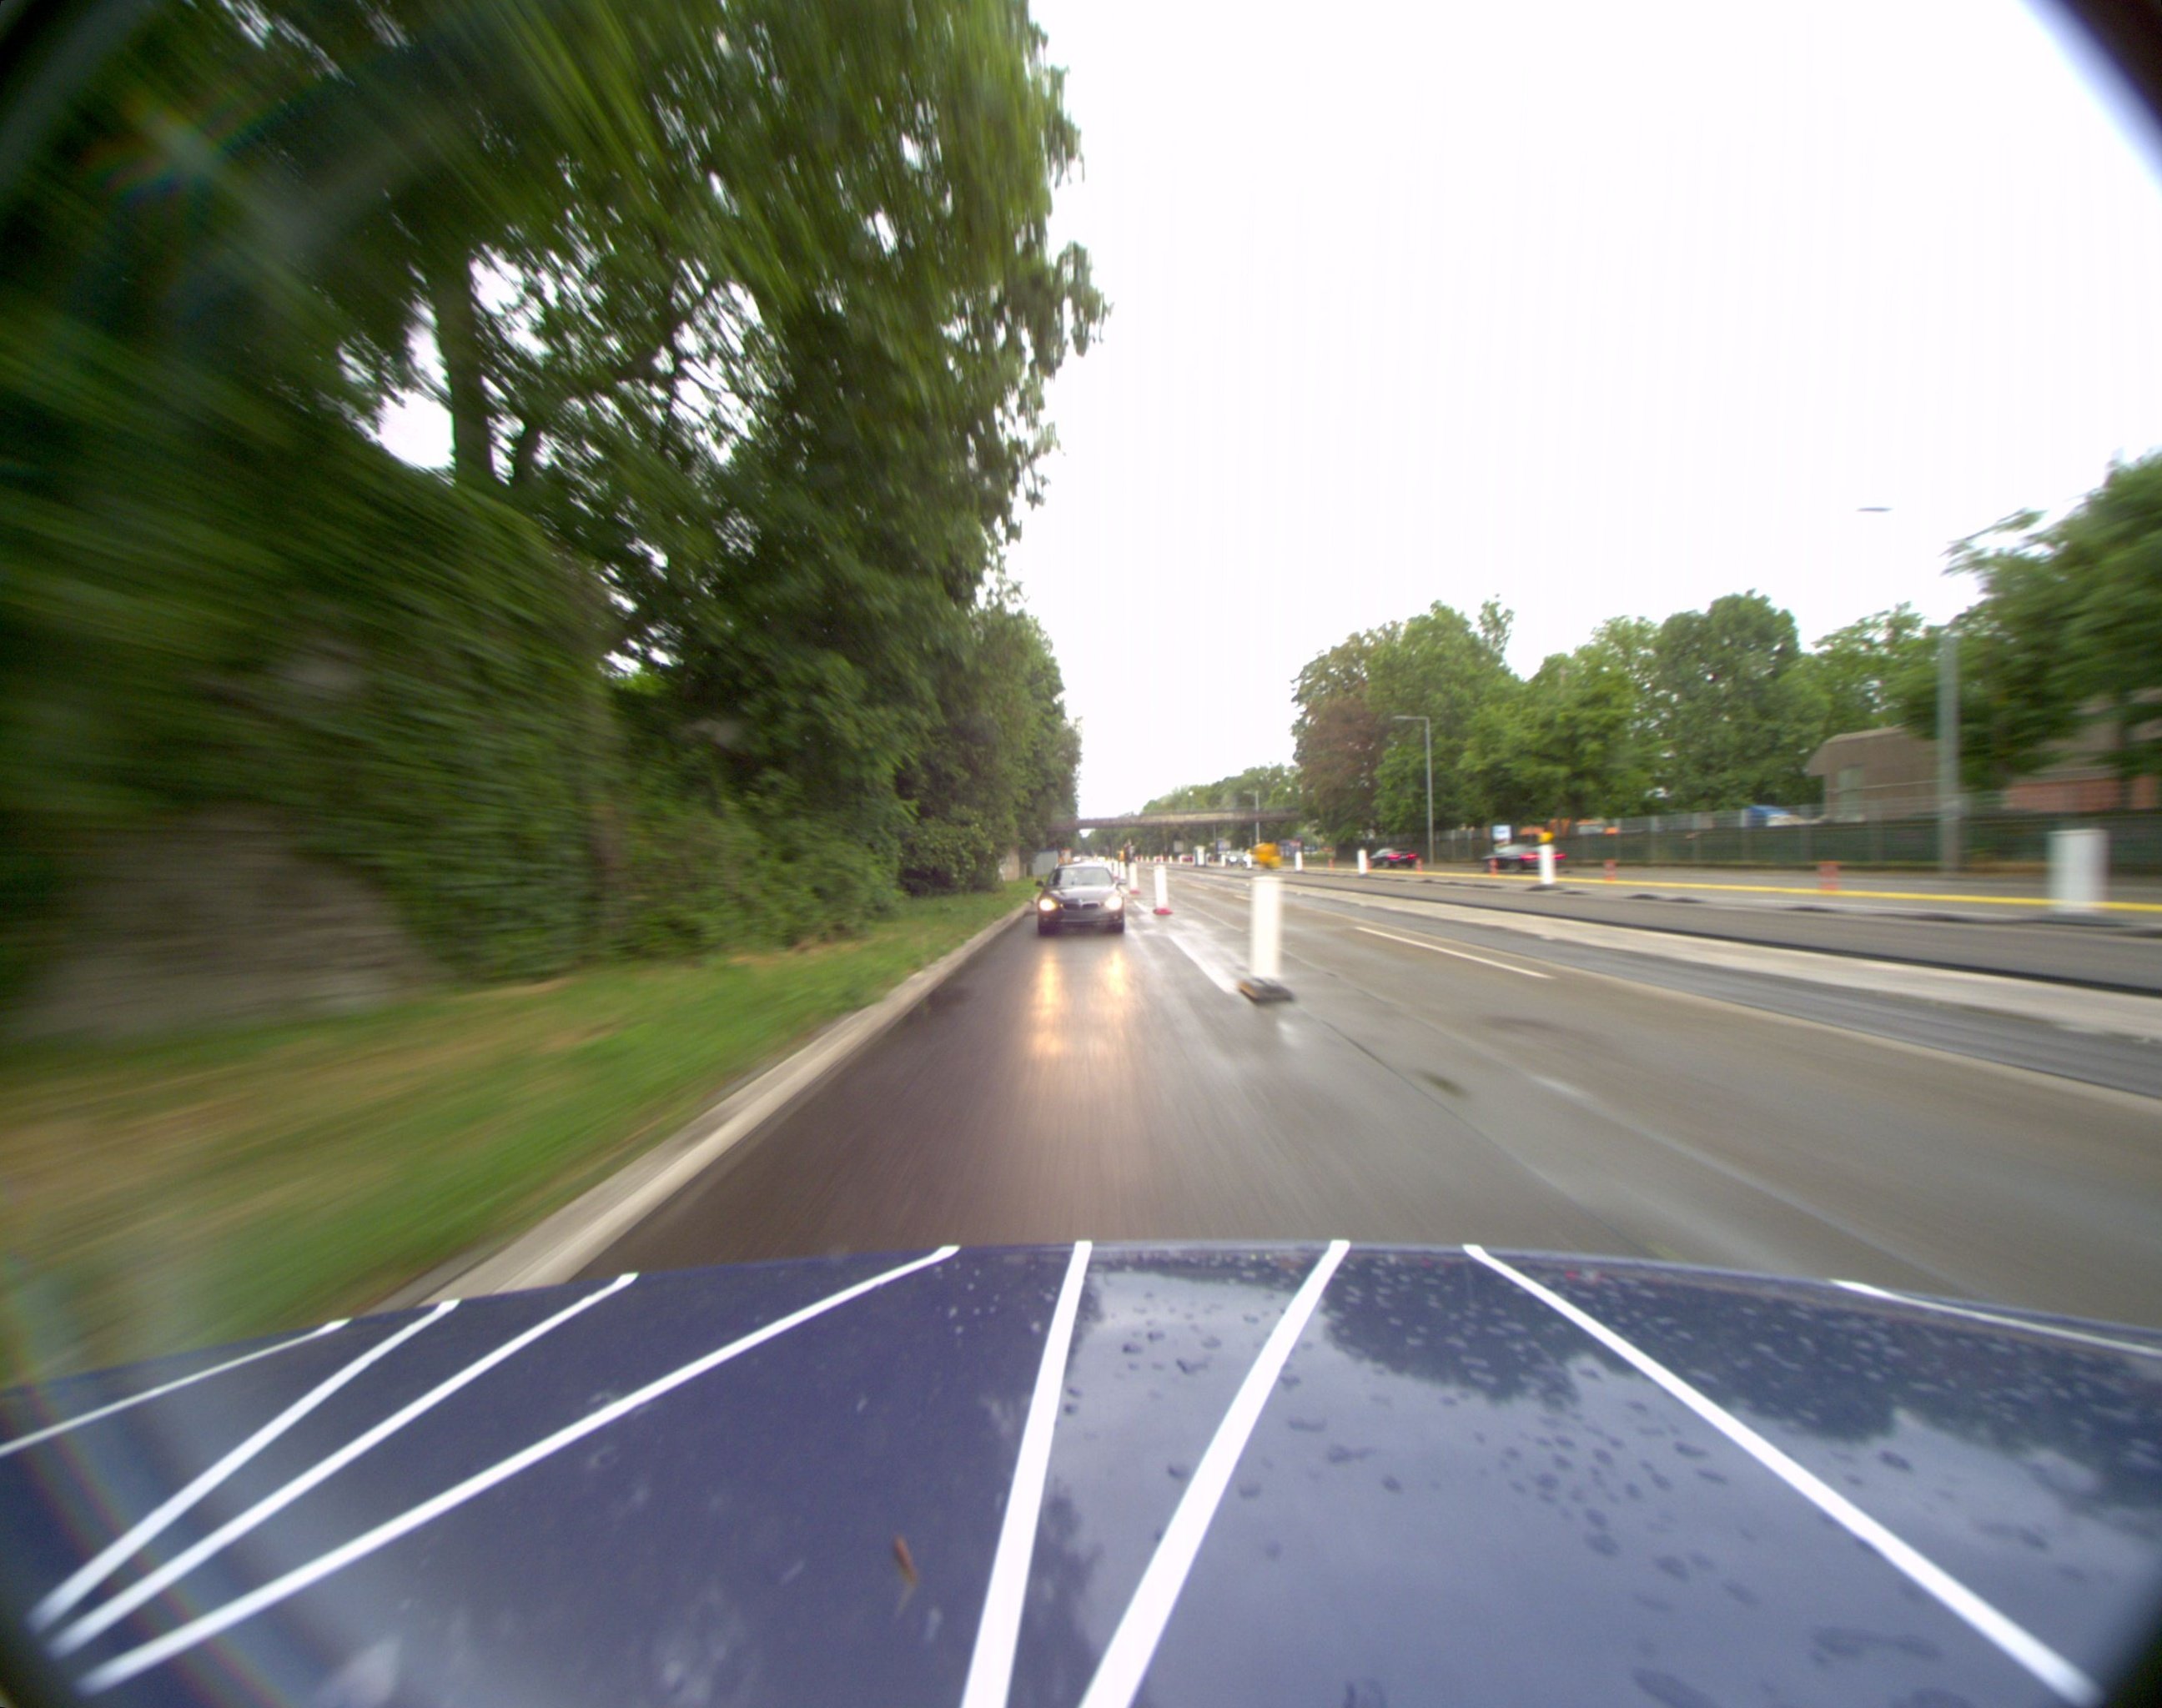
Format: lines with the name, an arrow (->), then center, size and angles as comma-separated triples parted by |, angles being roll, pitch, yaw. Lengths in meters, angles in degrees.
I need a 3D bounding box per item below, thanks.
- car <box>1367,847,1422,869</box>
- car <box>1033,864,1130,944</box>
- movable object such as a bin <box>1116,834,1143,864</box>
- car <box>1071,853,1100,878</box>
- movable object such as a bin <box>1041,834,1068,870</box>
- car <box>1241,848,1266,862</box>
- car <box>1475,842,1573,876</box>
car -> 21.708, 0.280, 52.817 | 1.999, 1.421, 4.265 | -2, 0, 0
car -> -0.013, 0.994, 16.821 | 1.838, 1.397, 3.999 | -3, 1, -1
movable object such as a bin -> 7.722, -0.810, 122.211 | 3.526, 4.495, 10.069 | -3, 1, 1
car -> 0.341, 0.783, 54.791 | 1.998, 1.650, 4.229 | -3, 1, 1
movable object such as a bin -> -3.089, -0.260, 90.336 | 2.889, 3.917, 6.104 | -3, 1, -1
car -> 19.616, 0.100, 86.584 | 1.998, 1.504, 4.266 | -2, 0, 1
car -> 21.461, 0.195, 37.084 | 2.051, 1.446, 4.764 | -3, 1, 1
